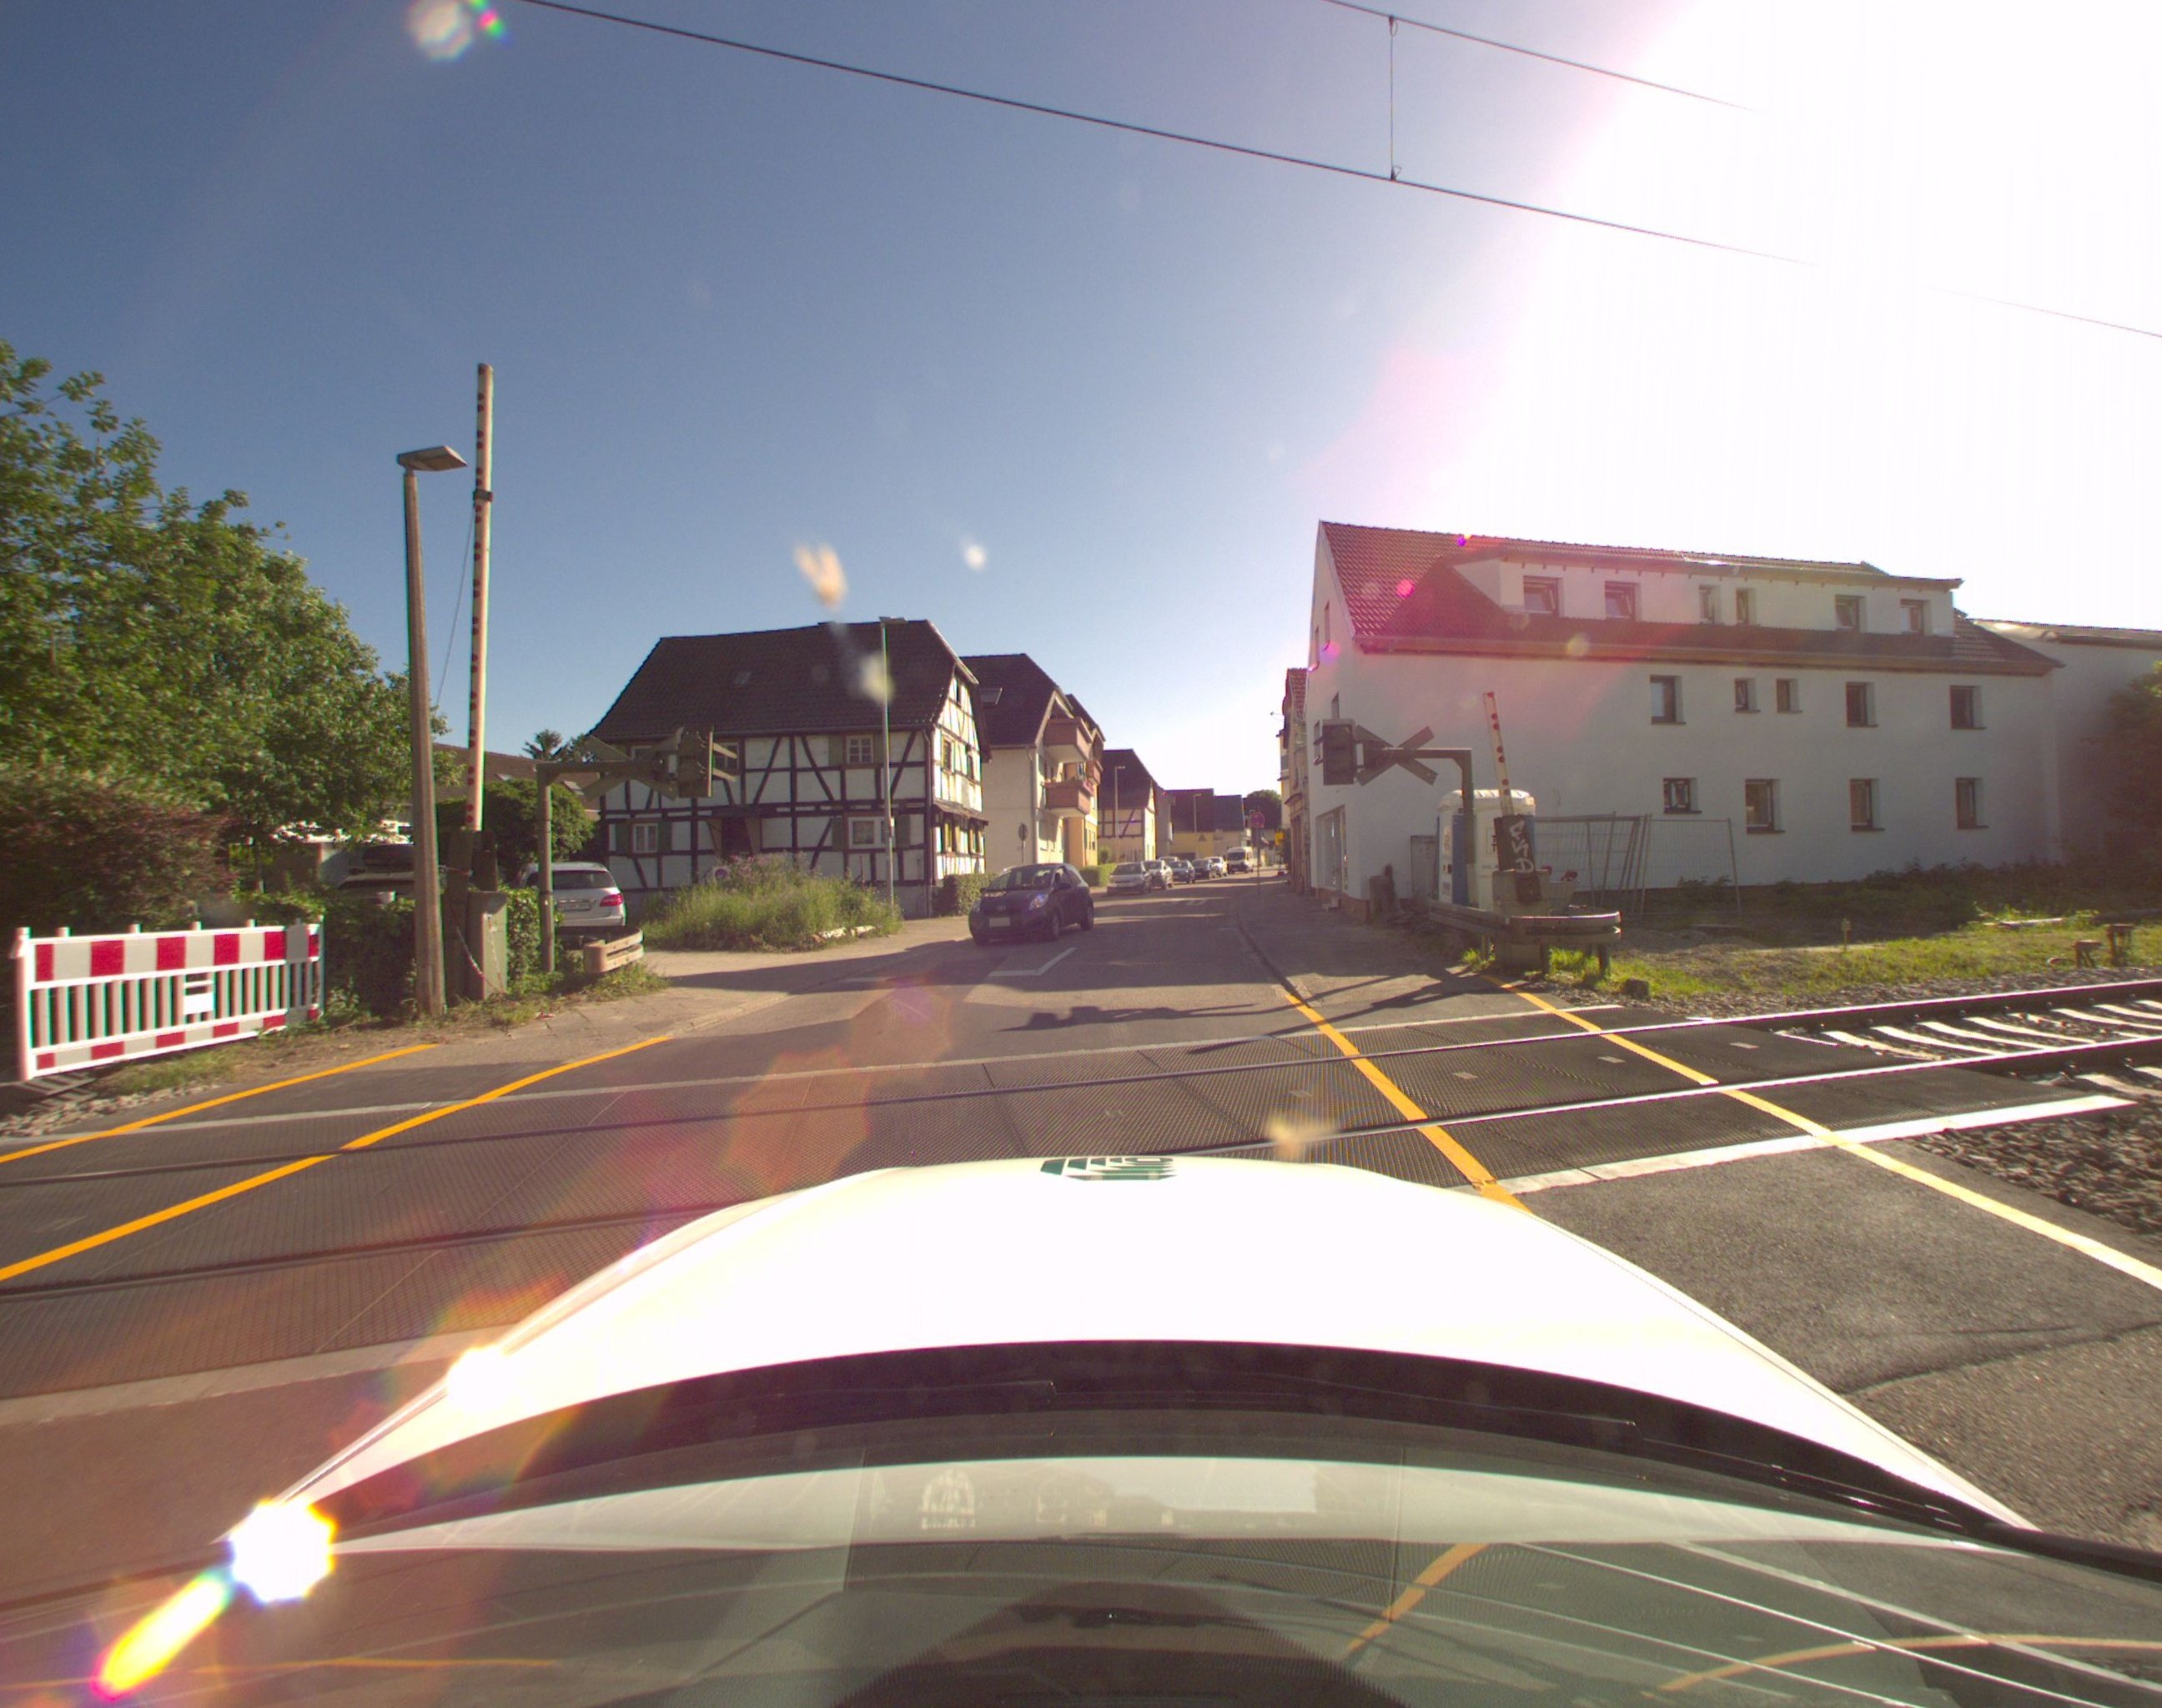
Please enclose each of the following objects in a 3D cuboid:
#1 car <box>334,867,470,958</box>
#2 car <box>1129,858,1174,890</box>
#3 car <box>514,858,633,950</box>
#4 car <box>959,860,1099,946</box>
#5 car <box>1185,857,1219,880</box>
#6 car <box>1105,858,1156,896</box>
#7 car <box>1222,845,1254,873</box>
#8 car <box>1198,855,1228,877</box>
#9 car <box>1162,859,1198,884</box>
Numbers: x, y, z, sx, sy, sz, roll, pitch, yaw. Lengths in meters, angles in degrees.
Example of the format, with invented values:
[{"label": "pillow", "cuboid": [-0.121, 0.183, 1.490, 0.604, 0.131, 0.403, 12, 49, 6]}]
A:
[{"label": "car", "cuboid": [-12.302, 0.975, 14.958, 1.649, 1.402, 3.789, -1, 0, -36]}, {"label": "car", "cuboid": [3.717, 0.997, 42.179, 1.662, 1.506, 4.109, -3, -1, 13]}, {"label": "car", "cuboid": [-10.034, 0.889, 15.974, 1.696, 1.564, 3.956, 1, -2, -36]}, {"label": "car", "cuboid": [-0.945, 0.930, 16.858, 1.673, 1.510, 3.670, -3, -1, 16]}, {"label": "car", "cuboid": [8.955, 1.042, 60.014, 1.690, 1.518, 4.141, -4, -1, 18]}, {"label": "car", "cuboid": [2.313, 1.023, 37.273, 1.620, 1.506, 3.866, -4, -1, 12]}, {"label": "car", "cuboid": [14.812, 0.456, 76.551, 2.060, 2.394, 5.234, -4, -1, 20]}, {"label": "car", "cuboid": [10.419, 0.906, 64.211, 1.660, 1.572, 3.984, -4, -1, 18]}, {"label": "car", "cuboid": [6.210, 1.048, 50.850, 1.627, 1.441, 4.090, -3, -1, 14]}]
